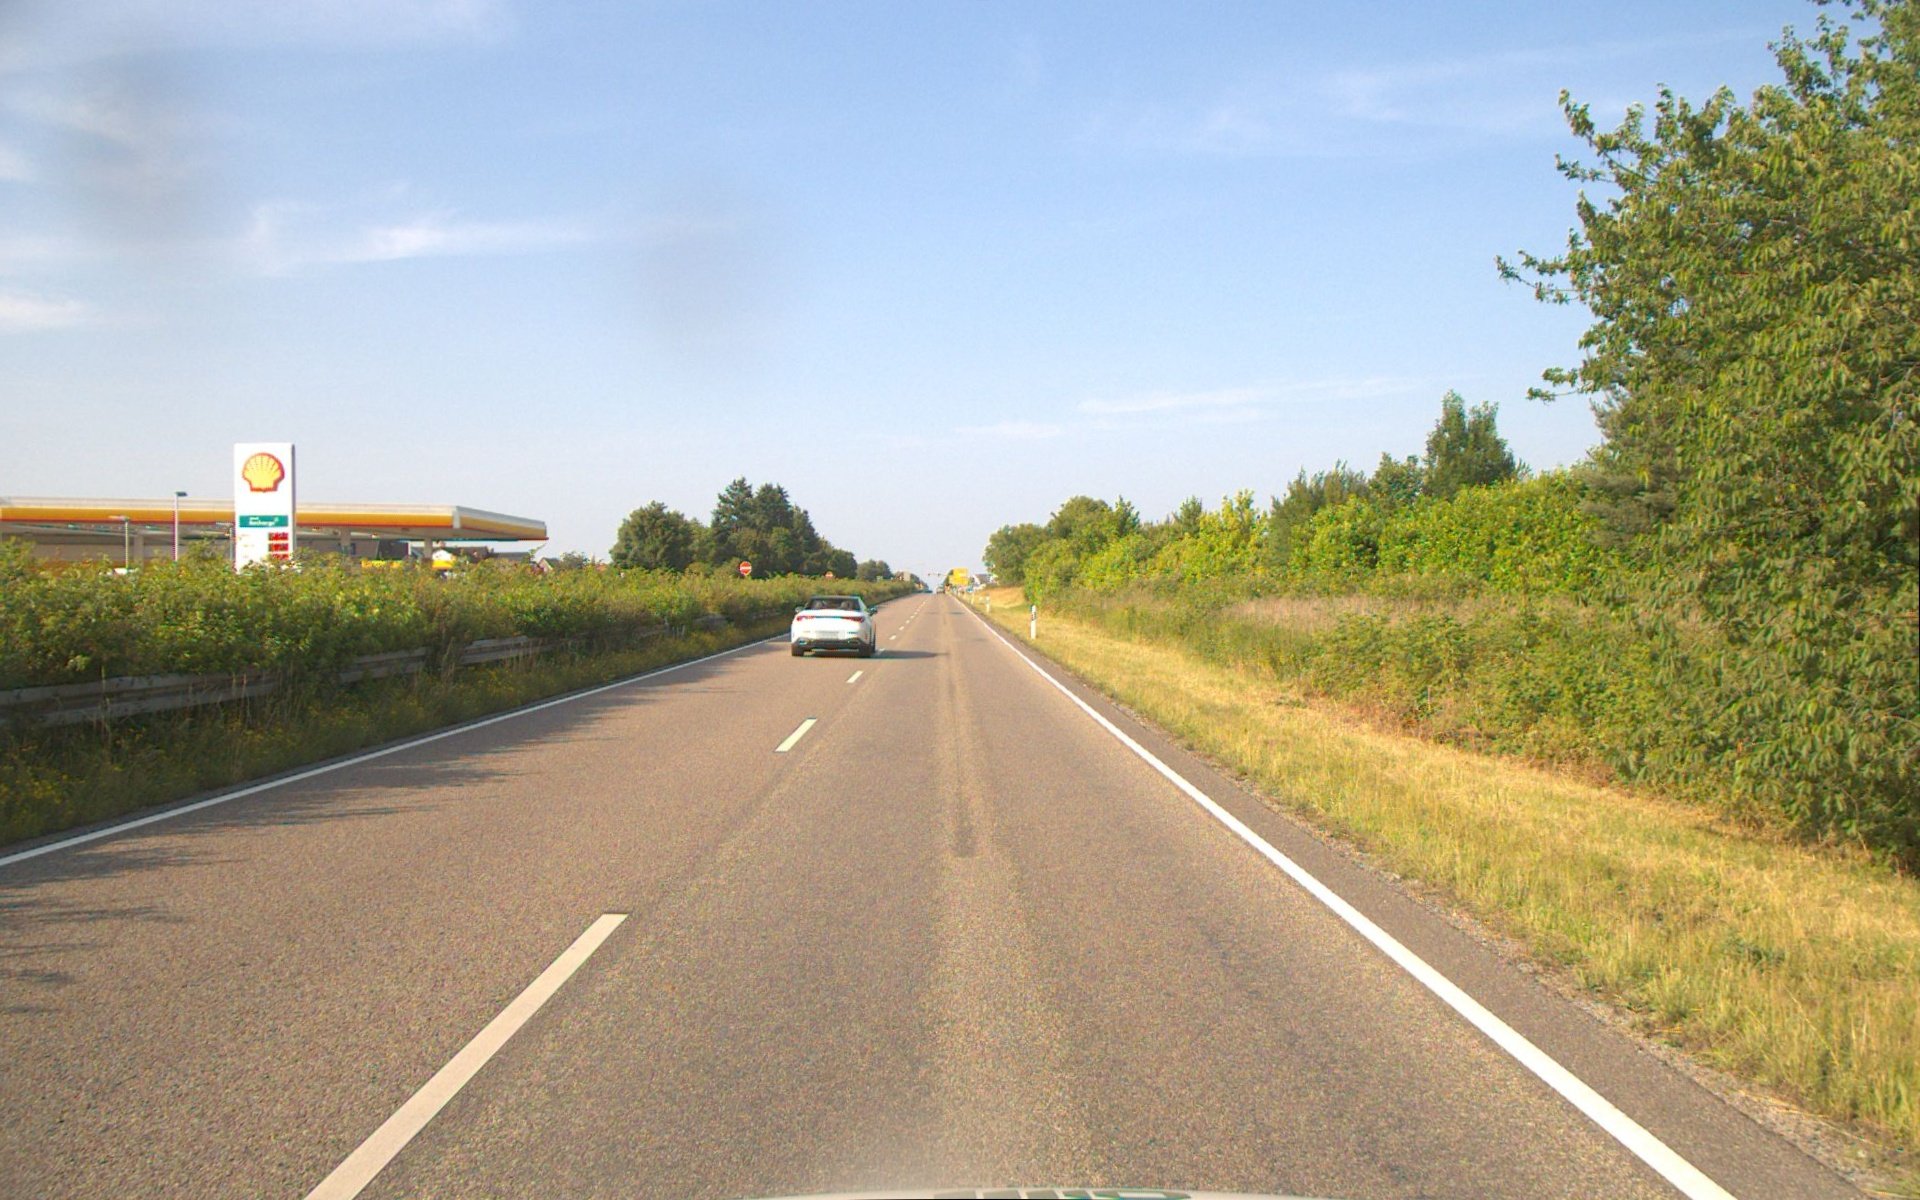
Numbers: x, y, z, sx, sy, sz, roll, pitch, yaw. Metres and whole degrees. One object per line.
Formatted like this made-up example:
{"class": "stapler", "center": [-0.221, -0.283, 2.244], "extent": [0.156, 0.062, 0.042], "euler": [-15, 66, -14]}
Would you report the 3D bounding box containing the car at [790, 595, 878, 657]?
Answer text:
{"class": "car", "center": [-2.925, 0.577, 39.311], "extent": [1.735, 1.361, 4.949], "euler": [1, 0, 0]}
